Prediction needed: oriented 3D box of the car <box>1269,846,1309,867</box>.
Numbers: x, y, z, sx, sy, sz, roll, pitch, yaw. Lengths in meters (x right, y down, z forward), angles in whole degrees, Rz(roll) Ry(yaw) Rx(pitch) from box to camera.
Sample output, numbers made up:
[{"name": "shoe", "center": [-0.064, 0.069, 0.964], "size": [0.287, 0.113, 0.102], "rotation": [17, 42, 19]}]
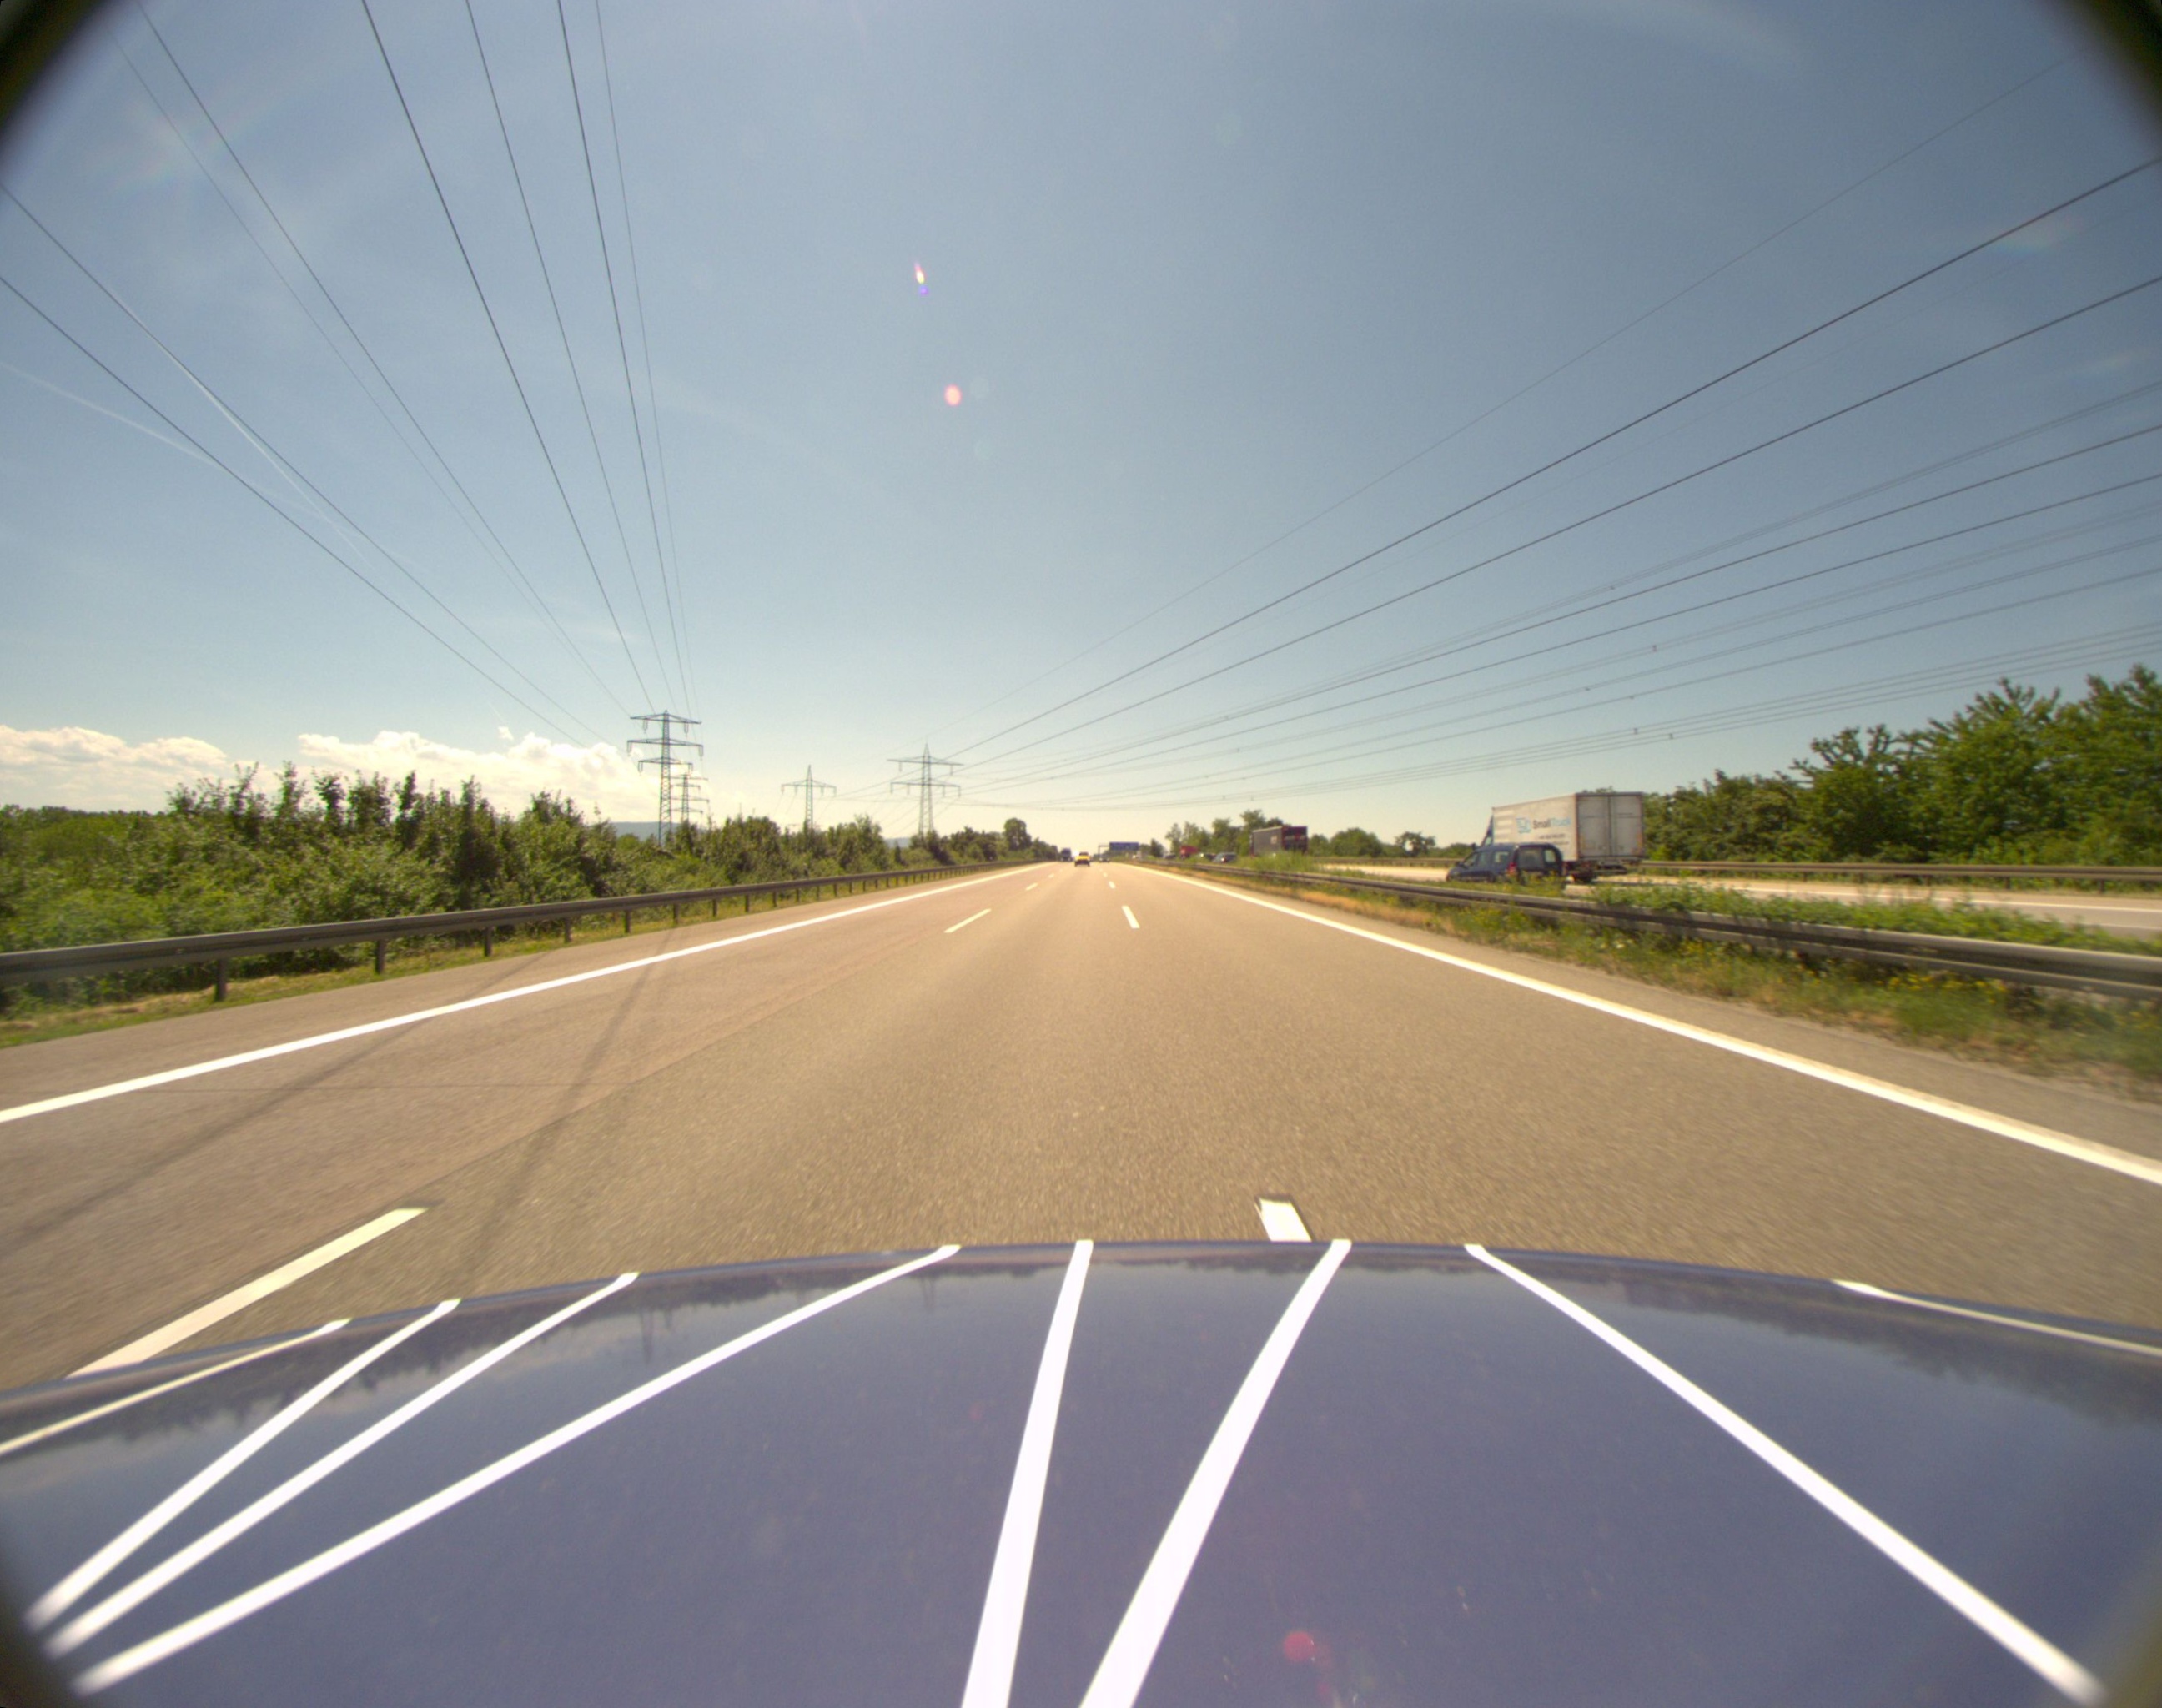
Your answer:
[{"name": "car", "center": [17.100, 0.233, 62.779], "size": [1.998, 1.608, 5.018], "rotation": [-2, 0, 1]}]

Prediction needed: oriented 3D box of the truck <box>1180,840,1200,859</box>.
[{"name": "truck", "center": [21.367, -0.832, 149.404], "size": [2.777, 3.506, 8.534], "rotation": [-2, 0, 0]}]

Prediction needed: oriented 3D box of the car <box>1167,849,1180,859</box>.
[{"name": "car", "center": [17.047, -0.005, 140.080], "size": [1.976, 1.763, 4.368], "rotation": [-2, 0, 0]}]

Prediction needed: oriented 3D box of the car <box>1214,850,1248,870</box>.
[{"name": "car", "center": [12.736, 0.521, 64.723], "size": [1.998, 1.608, 5.018], "rotation": [-2, 0, 1]}]

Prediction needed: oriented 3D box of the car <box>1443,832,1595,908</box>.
[{"name": "car", "center": [12.680, 0.440, 22.369], "size": [1.998, 1.963, 4.286], "rotation": [-2, 0, 1]}]

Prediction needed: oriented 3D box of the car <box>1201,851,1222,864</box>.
[{"name": "car", "center": [17.375, 0.496, 101.533], "size": [1.949, 1.608, 5.018], "rotation": [-2, 0, 1]}]

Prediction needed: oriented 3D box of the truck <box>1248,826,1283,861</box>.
[{"name": "truck", "center": [21.503, -1.148, 88.844], "size": [2.655, 3.959, 5.992], "rotation": [-2, 0, 1]}]

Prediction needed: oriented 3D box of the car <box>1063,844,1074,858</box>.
[{"name": "car", "center": [-3.290, -0.835, 202.884], "size": [2.687, 3.723, 6.271], "rotation": [0, -1, 0]}]

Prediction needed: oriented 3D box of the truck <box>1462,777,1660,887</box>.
[{"name": "truck", "center": [19.947, -0.767, 32.593], "size": [2.459, 3.952, 9.672], "rotation": [1, 0, 1]}]

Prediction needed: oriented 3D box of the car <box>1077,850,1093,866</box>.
[{"name": "car", "center": [0.450, 0.495, 96.684], "size": [1.955, 2.001, 5.433], "rotation": [0, -1, 0]}]

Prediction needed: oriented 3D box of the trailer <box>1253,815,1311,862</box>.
[{"name": "trailer", "center": [21.388, -1.500, 81.832], "size": [2.655, 4.525, 13.866], "rotation": [-2, 0, 1]}]

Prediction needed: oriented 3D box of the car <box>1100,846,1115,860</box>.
[{"name": "car", "center": [5.014, -0.152, 145.669], "size": [2.687, 2.509, 5.967], "rotation": [0, -1, 0]}]

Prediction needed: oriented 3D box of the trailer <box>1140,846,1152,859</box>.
[{"name": "trailer", "center": [21.261, -0.326, 248.504], "size": [2.848, 4.139, 8.327], "rotation": [-2, 0, 0]}]

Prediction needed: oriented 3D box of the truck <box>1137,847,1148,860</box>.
[{"name": "truck", "center": [20.988, -0.123, 257.914], "size": [2.699, 3.926, 10.593], "rotation": [-2, 0, 0]}]
